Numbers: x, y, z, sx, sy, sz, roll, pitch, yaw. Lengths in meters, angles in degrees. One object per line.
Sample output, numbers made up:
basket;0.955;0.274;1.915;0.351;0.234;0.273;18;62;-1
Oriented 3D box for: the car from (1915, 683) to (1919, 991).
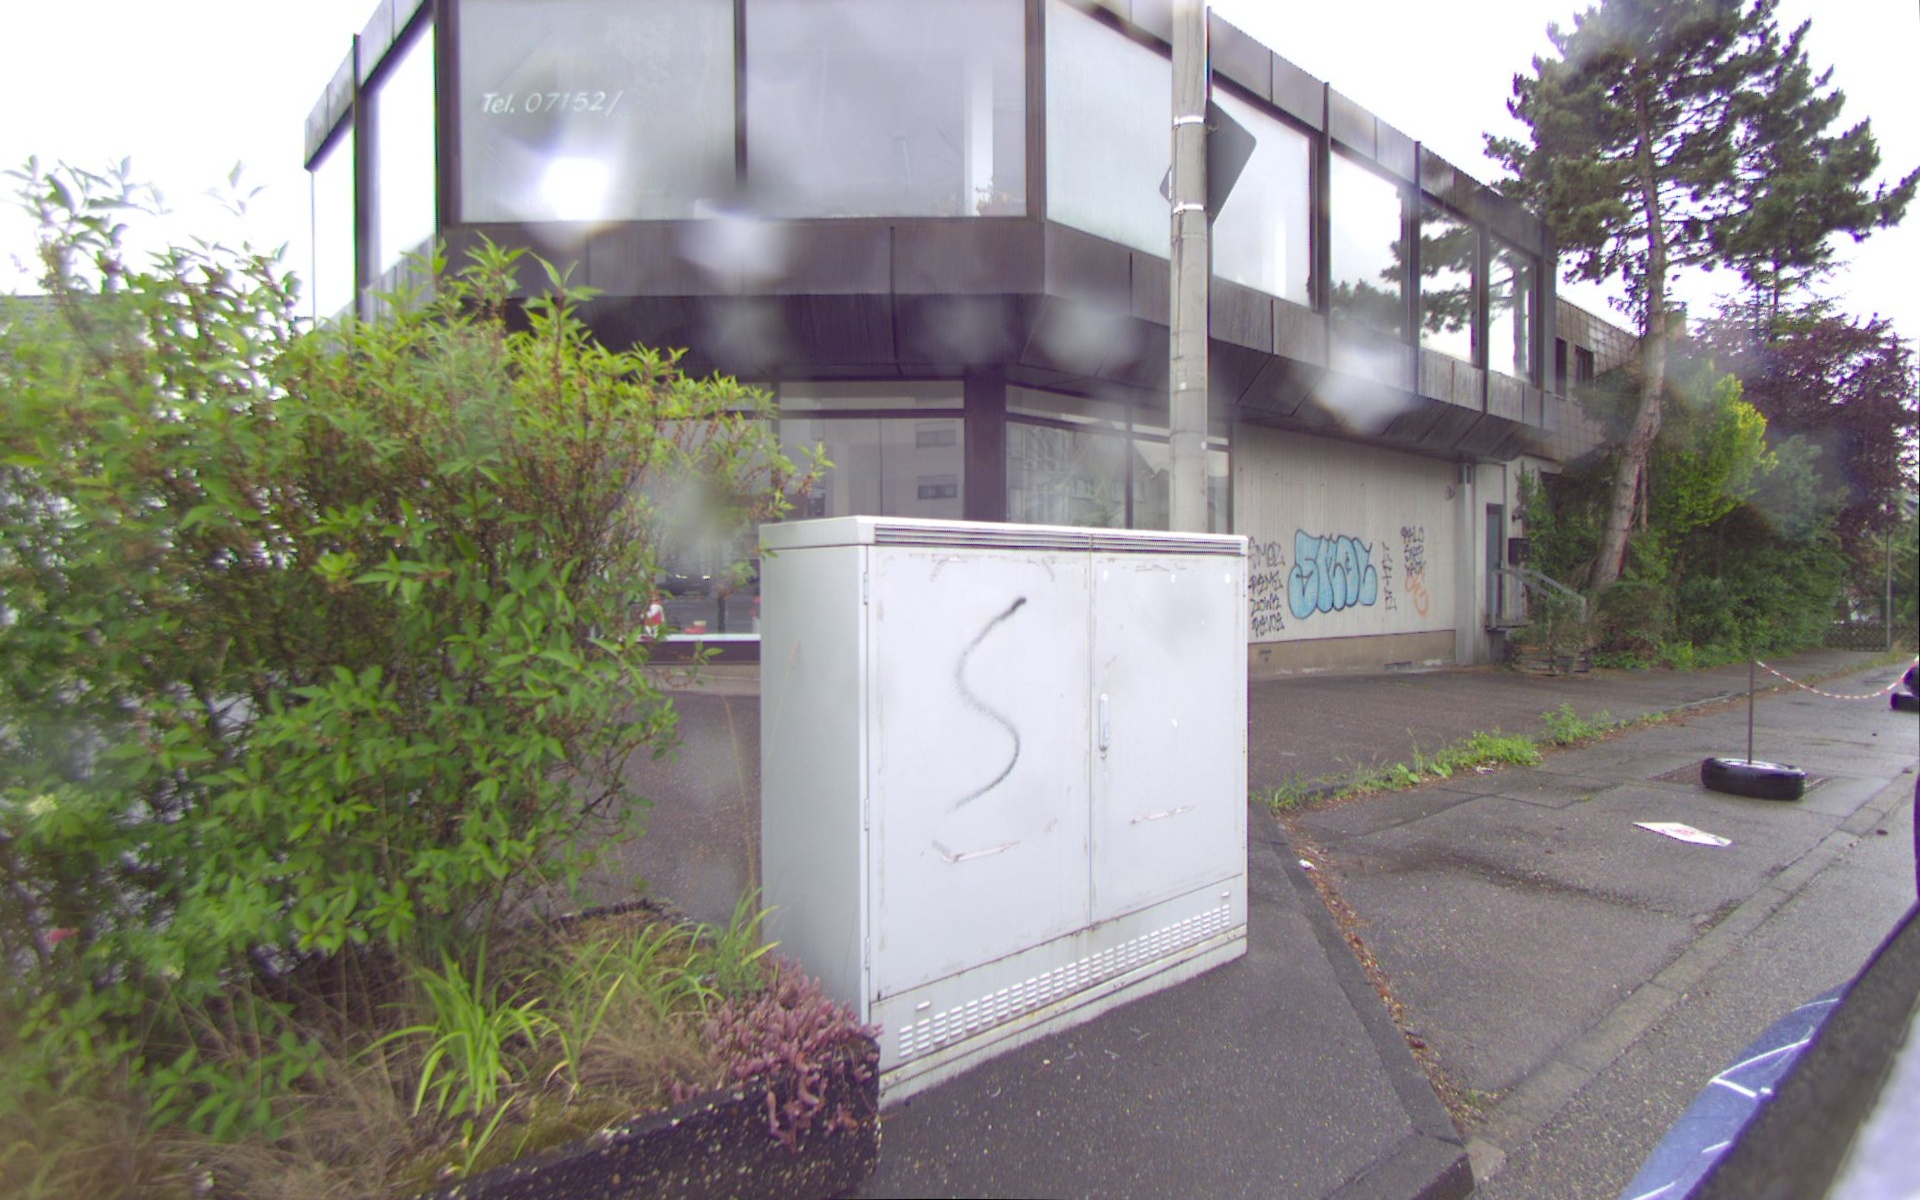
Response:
car;5.672;0.592;4.400;4.595;1.562;1.753;-1;1;-41
